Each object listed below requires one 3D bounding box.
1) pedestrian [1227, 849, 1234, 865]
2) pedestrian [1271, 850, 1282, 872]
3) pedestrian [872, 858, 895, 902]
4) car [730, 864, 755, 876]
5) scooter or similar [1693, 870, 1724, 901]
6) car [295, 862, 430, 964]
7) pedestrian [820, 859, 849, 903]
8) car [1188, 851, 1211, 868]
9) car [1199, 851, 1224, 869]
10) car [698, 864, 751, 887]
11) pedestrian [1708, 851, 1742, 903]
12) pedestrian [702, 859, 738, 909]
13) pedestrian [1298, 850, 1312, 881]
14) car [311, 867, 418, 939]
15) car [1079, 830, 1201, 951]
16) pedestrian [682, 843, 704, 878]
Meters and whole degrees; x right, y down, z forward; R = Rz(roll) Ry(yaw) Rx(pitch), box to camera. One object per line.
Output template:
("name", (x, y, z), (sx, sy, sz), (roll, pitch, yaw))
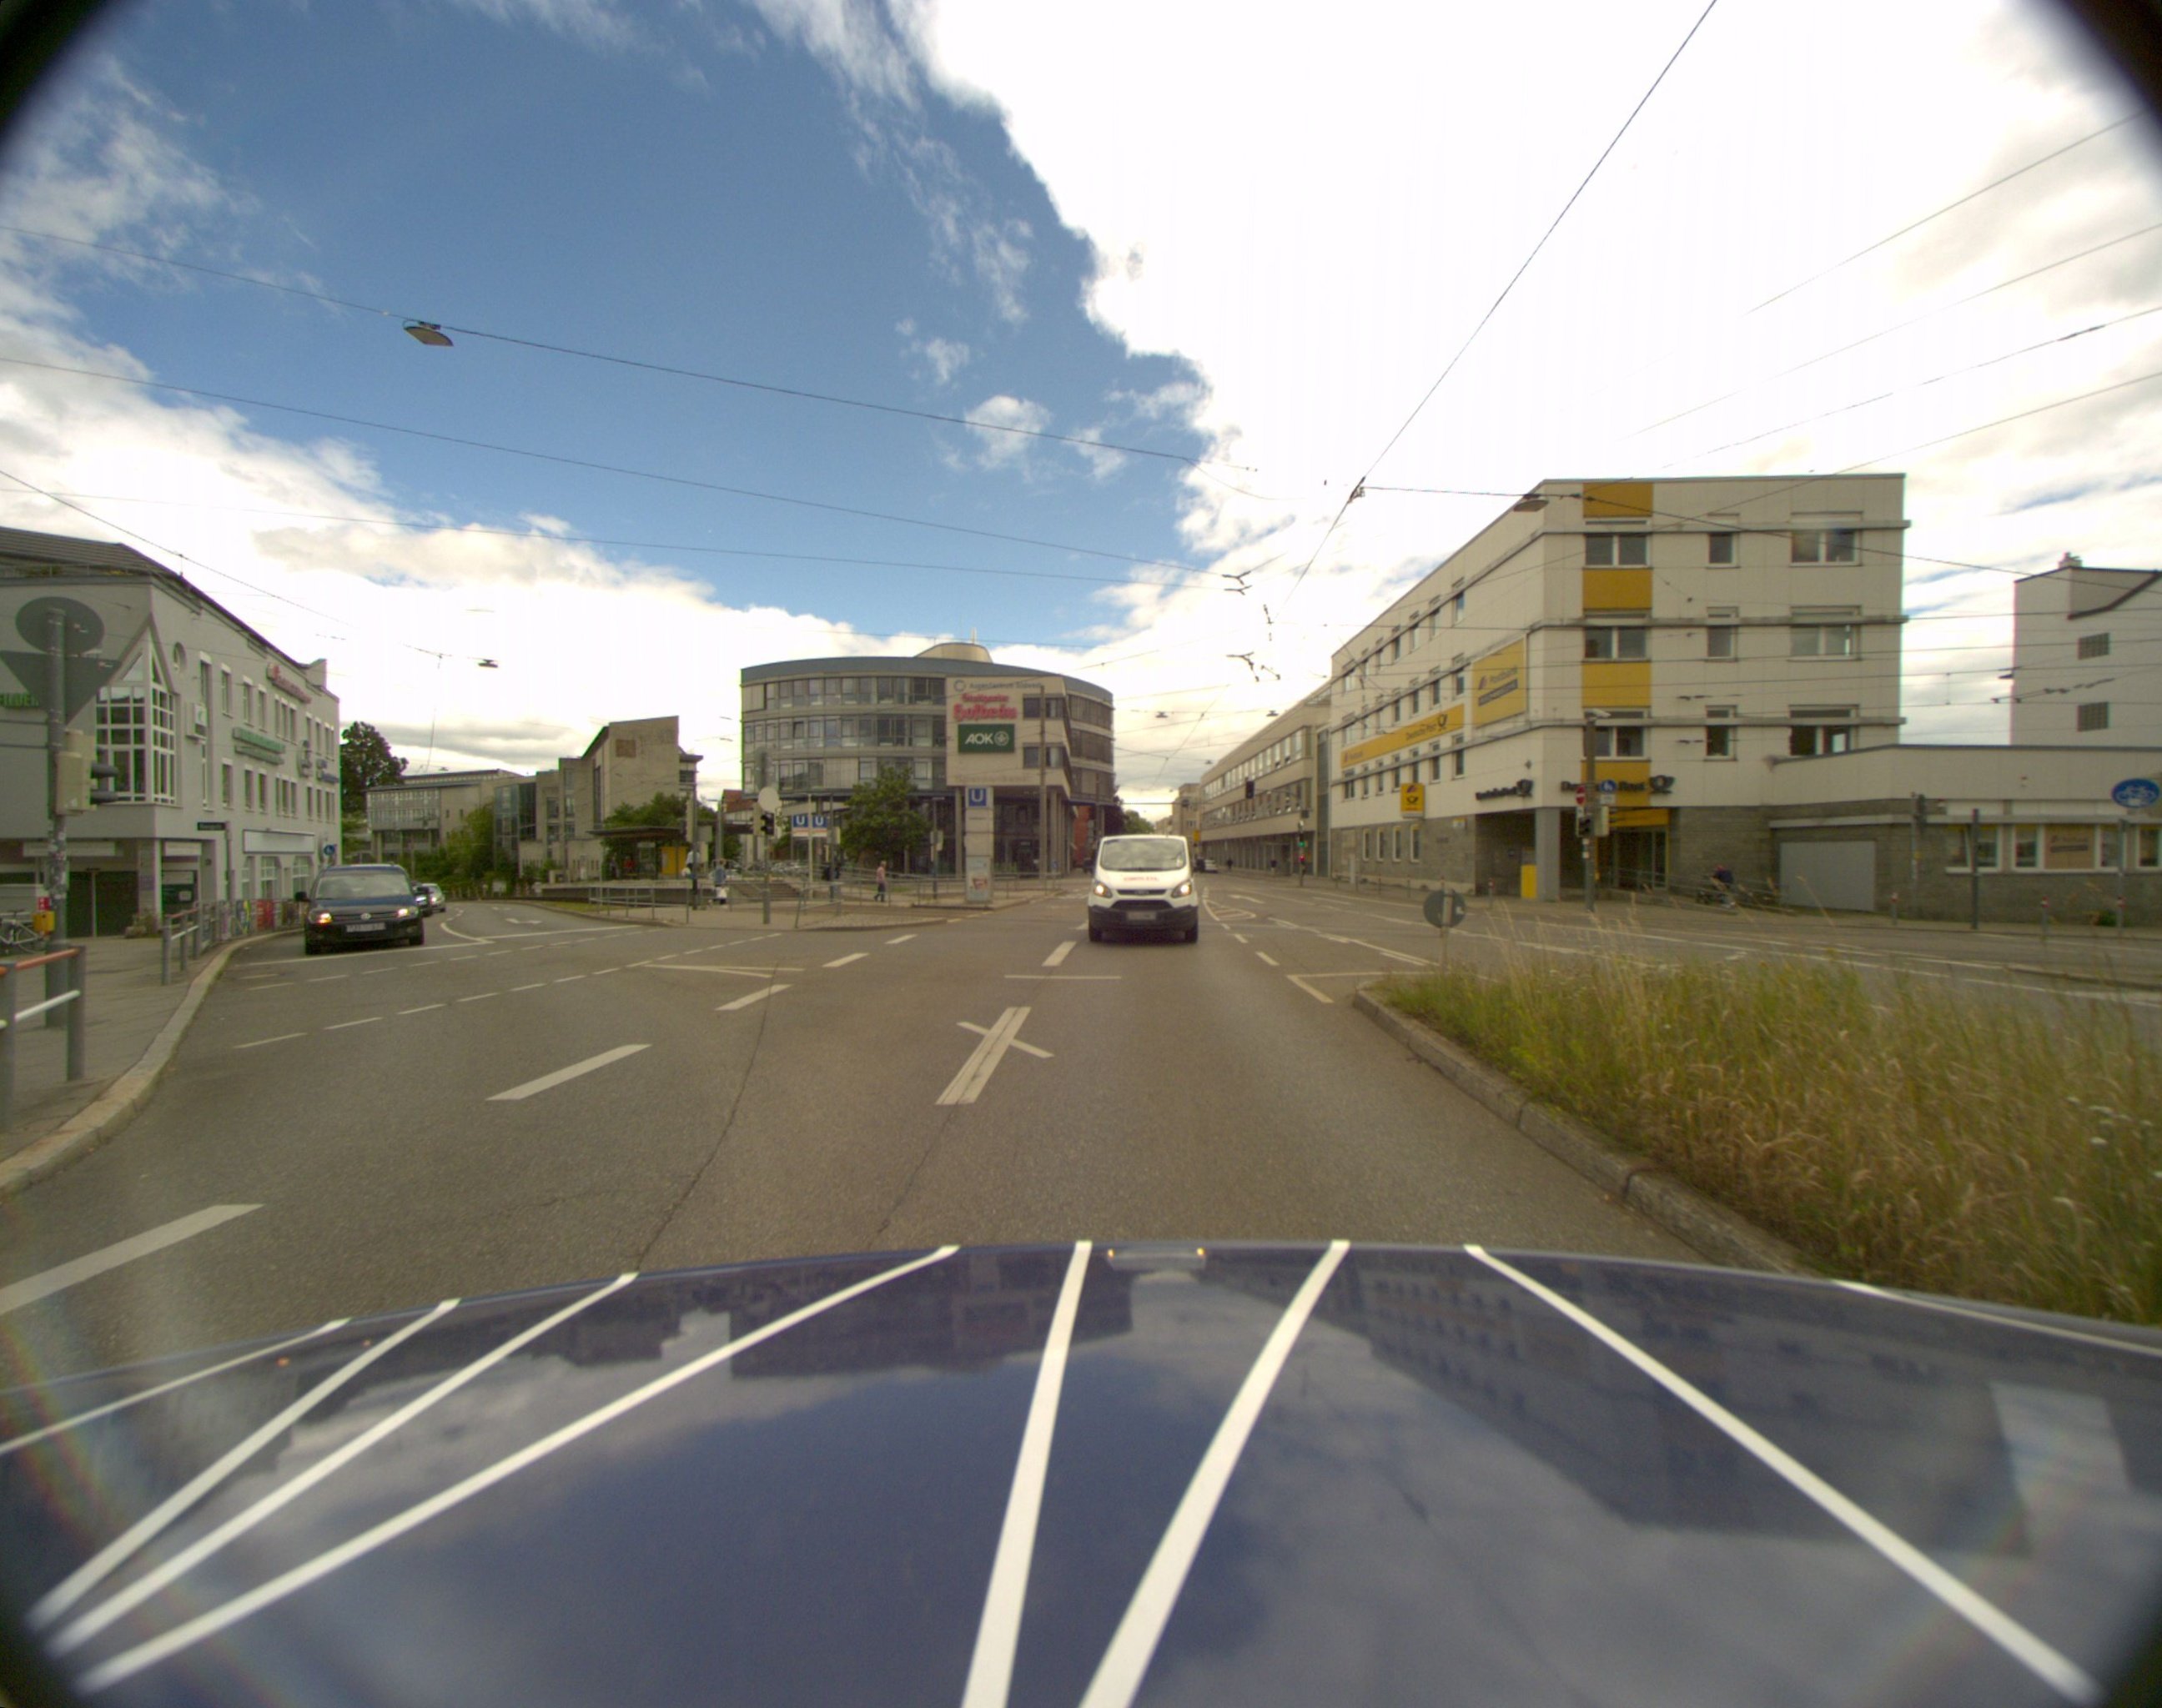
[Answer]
("pedestrian", (17.345, 0.361, 87.929), (0.587, 1.792, 0.526), (-3, 0, 1))
("pedestrian", (15.817, 0.560, 61.490), (0.587, 1.792, 0.526), (-3, 0, 1))
("pedestrian", (-7.521, 0.984, 28.929), (0.589, 1.625, 0.525), (-4, 1, -44))
("car", (-48.731, 2.309, 109.290), (2.004, 1.700, 4.306), (-1, 0, -43))
("scooter or similar", (20.597, 1.020, 24.947), (0.508, 0.971, 0.617), (-1, 1, -1))
("car", (-15.893, 1.138, 16.794), (1.884, 1.884, 4.913), (-2, 1, -45))
("pedestrian", (-9.336, 1.017, 28.782), (0.847, 1.625, 0.644), (-4, 0, -32))
("car", (14.353, 0.636, 92.392), (1.999, 2.002, 4.486), (-1, 0, -1))
("car", (14.765, 0.651, 86.196), (1.999, 2.002, 4.486), (-1, 0, -1))
("car", (-27.603, 1.651, 58.739), (4.306, 1.700, 2.004), (-1, 0, 39))
("pedestrian", (20.588, 0.730, 24.304), (0.587, 1.625, 0.615), (0, 1, 1))
("pedestrian", (-12.313, 1.005, 25.914), (0.885, 1.637, 0.808), (0, 1, 44))
("pedestrian", (13.332, 0.690, 45.213), (0.587, 1.792, 0.526), (-3, 0, 1))
("car", (-21.994, 1.394, 23.521), (1.884, 1.884, 4.914), (-2, 1, -38))
("car", (1.271, 0.617, 15.287), (1.997, 2.002, 5.001), (-1, 0, 6))
("pedestrian", (-20.161, 0.345, 39.488), (0.613, 1.733, 0.697), (-3, 0, 37))
